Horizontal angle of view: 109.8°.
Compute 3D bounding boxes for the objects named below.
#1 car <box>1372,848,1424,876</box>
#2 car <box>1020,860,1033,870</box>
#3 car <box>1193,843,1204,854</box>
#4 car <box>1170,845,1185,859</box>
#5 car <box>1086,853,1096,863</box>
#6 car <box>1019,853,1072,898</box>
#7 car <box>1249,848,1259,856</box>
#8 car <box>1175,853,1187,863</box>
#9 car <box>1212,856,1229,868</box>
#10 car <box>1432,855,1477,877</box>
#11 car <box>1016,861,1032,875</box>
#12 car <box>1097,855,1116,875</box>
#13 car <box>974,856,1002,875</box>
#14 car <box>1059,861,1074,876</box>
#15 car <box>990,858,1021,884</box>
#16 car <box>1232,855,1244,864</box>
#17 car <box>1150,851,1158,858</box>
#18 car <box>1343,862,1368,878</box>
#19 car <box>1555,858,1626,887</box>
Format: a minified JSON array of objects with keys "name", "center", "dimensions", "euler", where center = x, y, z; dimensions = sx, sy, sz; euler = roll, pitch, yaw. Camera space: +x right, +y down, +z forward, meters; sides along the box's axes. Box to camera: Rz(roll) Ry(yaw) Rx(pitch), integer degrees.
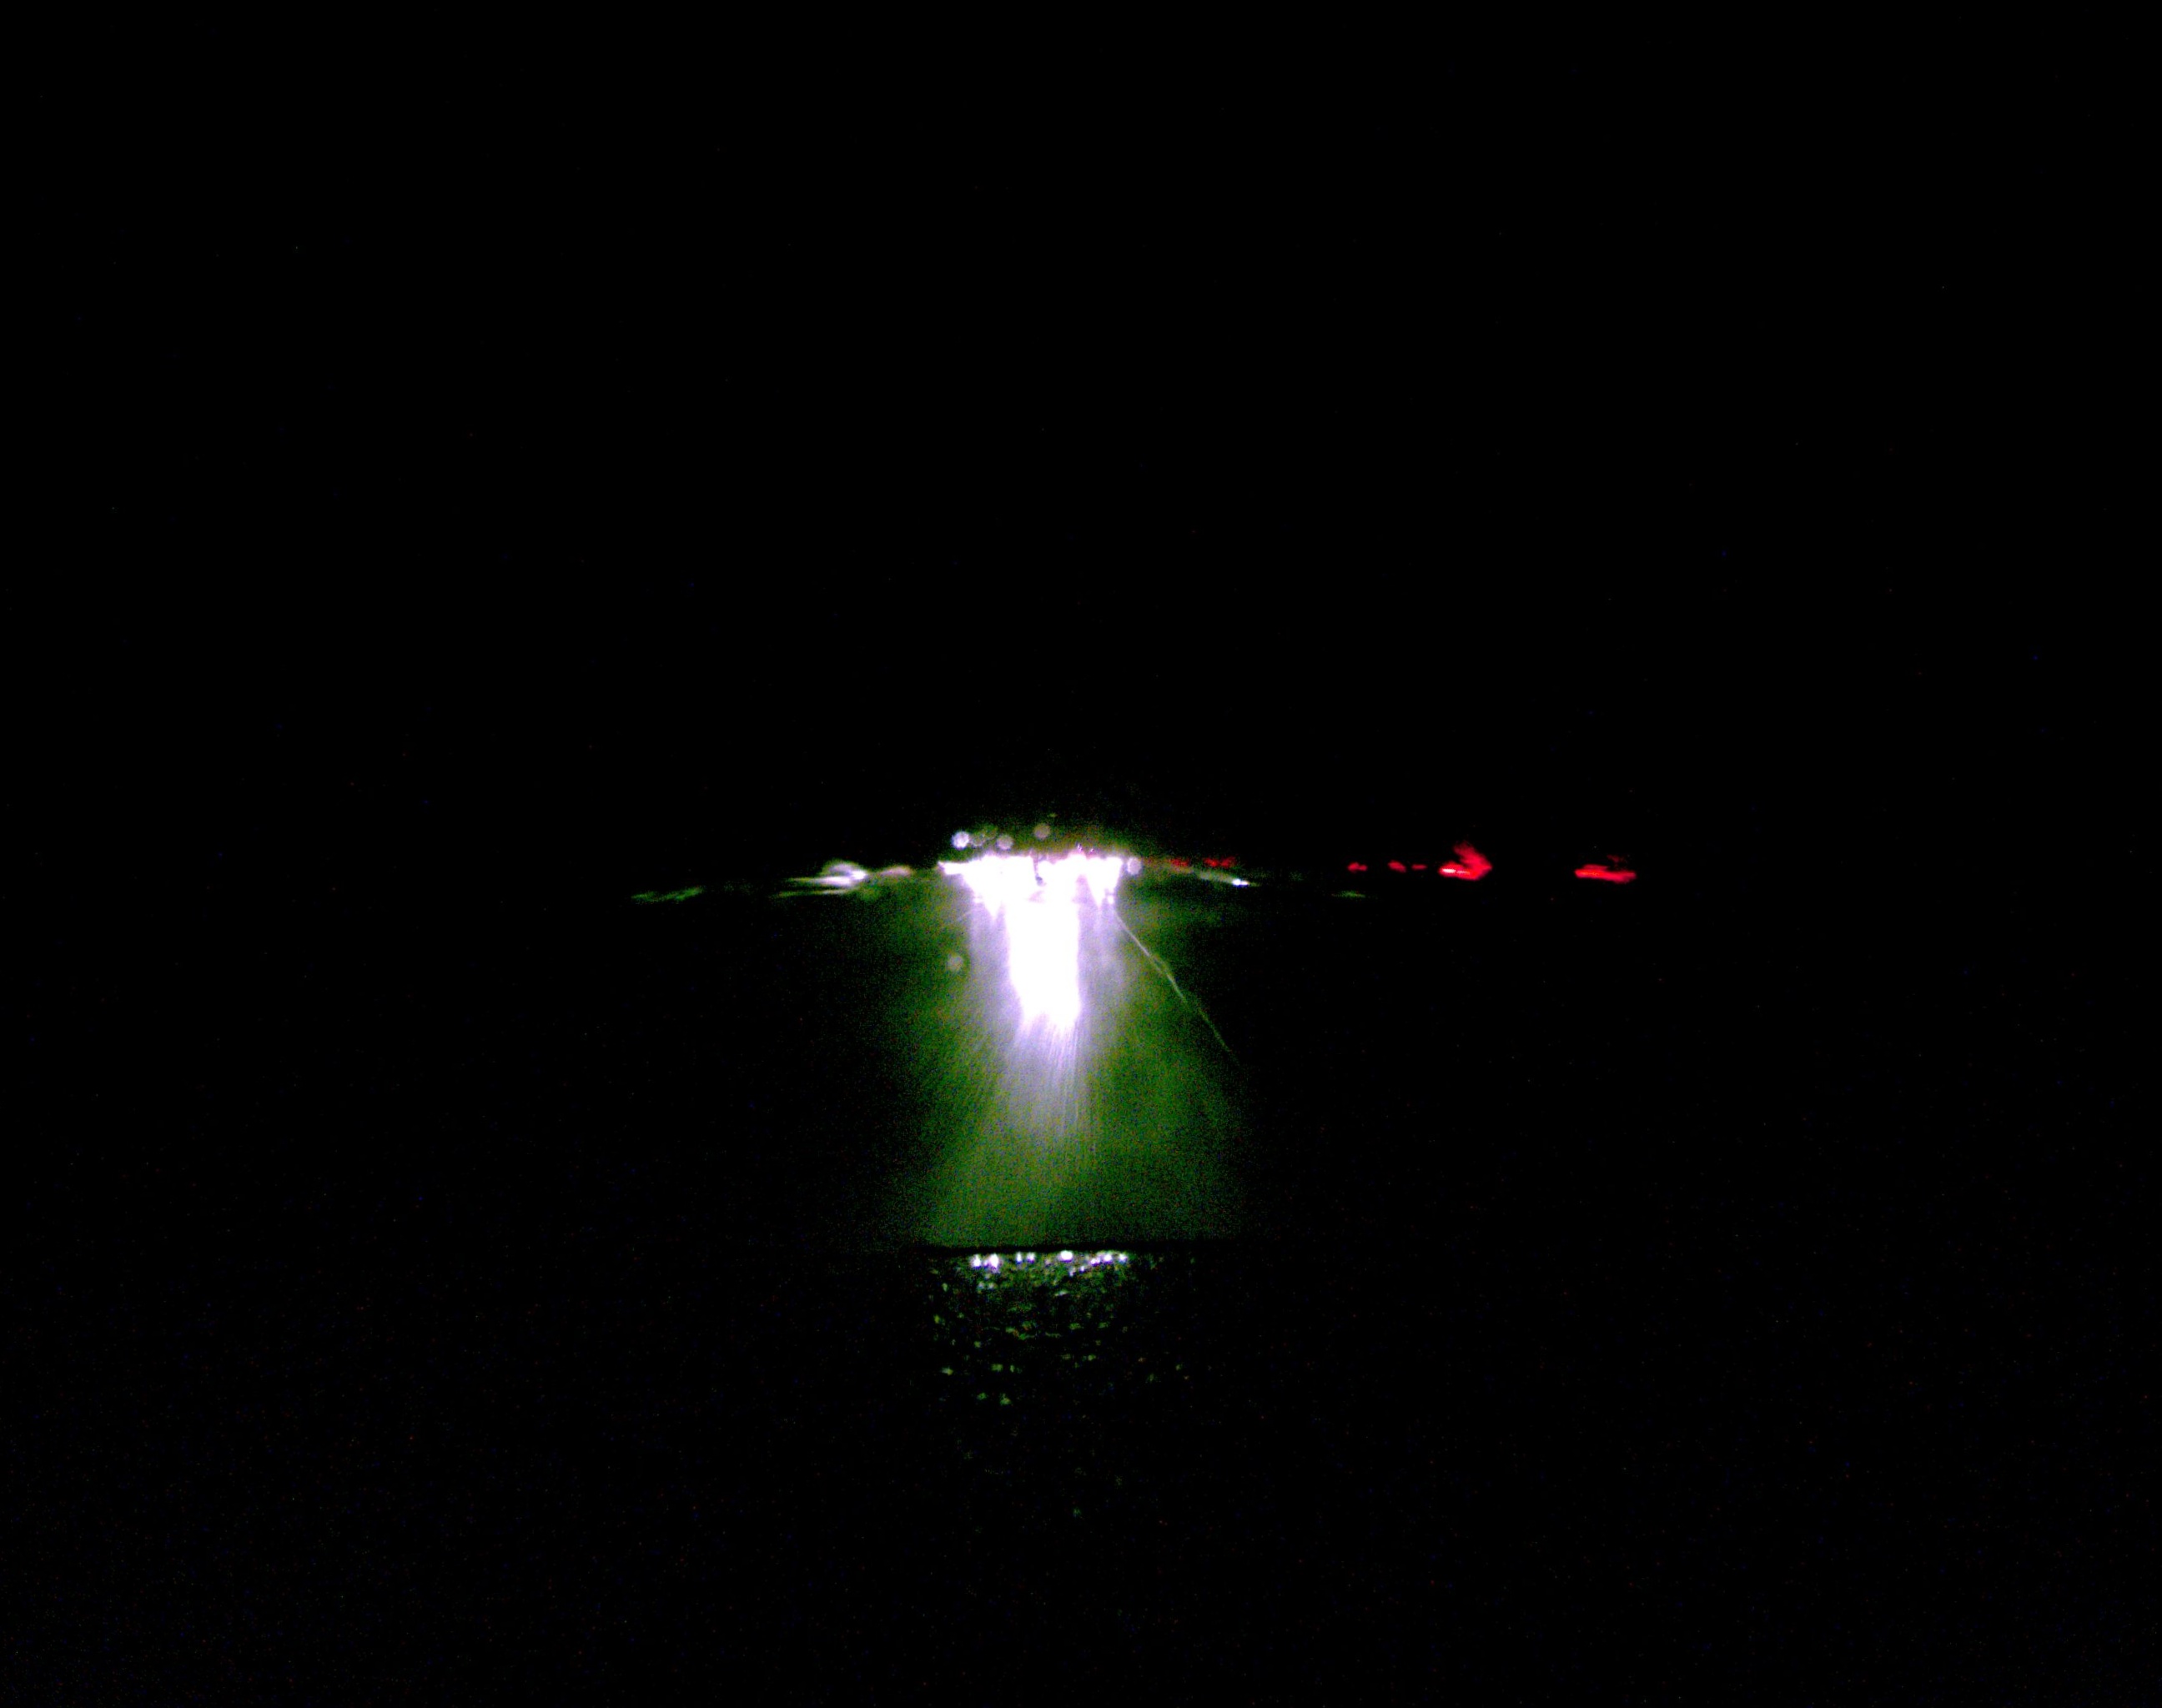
[{"name":"car","center":[23.255,0.541,55.857],"dimensions":[1.913,1.895,4.142],"euler":[-2,1,-3]},{"name":"car","center":[-9.146,1.863,127.828],"dimensions":[1.755,1.563,3.999],"euler":[-2,1,0]},{"name":"car","center":[30.749,-1.400,199.315],"dimensions":[2.160,2.877,4.718],"euler":[-2,1,1]},{"name":"car","center":[23.009,-0.501,181.380],"dimensions":[2.714,3.187,6.321],"euler":[-2,1,1]},{"name":"car","center":[1.828,0.813,146.269],"dimensions":[1.800,1.728,3.999],"euler":[-2,1,0]},{"name":"car","center":[-1.407,0.829,32.014],"dimensions":[1.960,1.655,4.915],"euler":[-2,0,0]},{"name":"car","center":[45.020,-0.558,197.769],"dimensions":[1.895,1.778,4.174],"euler":[-2,1,1]},{"name":"car","center":[18.845,0.781,143.261],"dimensions":[1.745,1.765,4.000],"euler":[-2,1,1]},{"name":"car","center":[18.711,1.067,101.990],"dimensions":[1.722,1.537,3.523],"euler":[-2,1,1]},{"name":"car","center":[31.040,0.984,63.315],"dimensions":[1.874,1.701,3.813],"euler":[-2,1,1]},{"name":"car","center":[-8.333,2.027,111.067],"dimensions":[1.999,1.852,3.999],"euler":[-2,1,0]},{"name":"car","center":[2.477,1.051,74.617],"dimensions":[1.611,1.775,3.910],"euler":[-2,1,0]},{"name":"car","center":[-9.111,1.100,74.495],"dimensions":[1.998,1.590,4.652],"euler":[-2,1,2]},{"name":"car","center":[-1.819,1.734,94.567],"dimensions":[1.615,1.697,3.597],"euler":[-2,1,1]},{"name":"car","center":[-5.429,1.230,55.090],"dimensions":[1.792,1.681,3.999],"euler":[-2,1,0]},{"name":"car","center":[35.347,1.247,171.393],"dimensions":[1.822,1.936,4.000],"euler":[-2,1,1]},{"name":"car","center":[21.854,0.101,227.284],"dimensions":[2.213,2.002,4.000],"euler":[-2,1,1]},{"name":"car","center":[31.904,1.814,88.462],"dimensions":[1.641,1.683,3.412],"euler":[-2,1,1]},{"name":"car","center":[30.217,1.059,45.217],"dimensions":[1.688,1.494,3.766],"euler":[-2,1,1]}]
